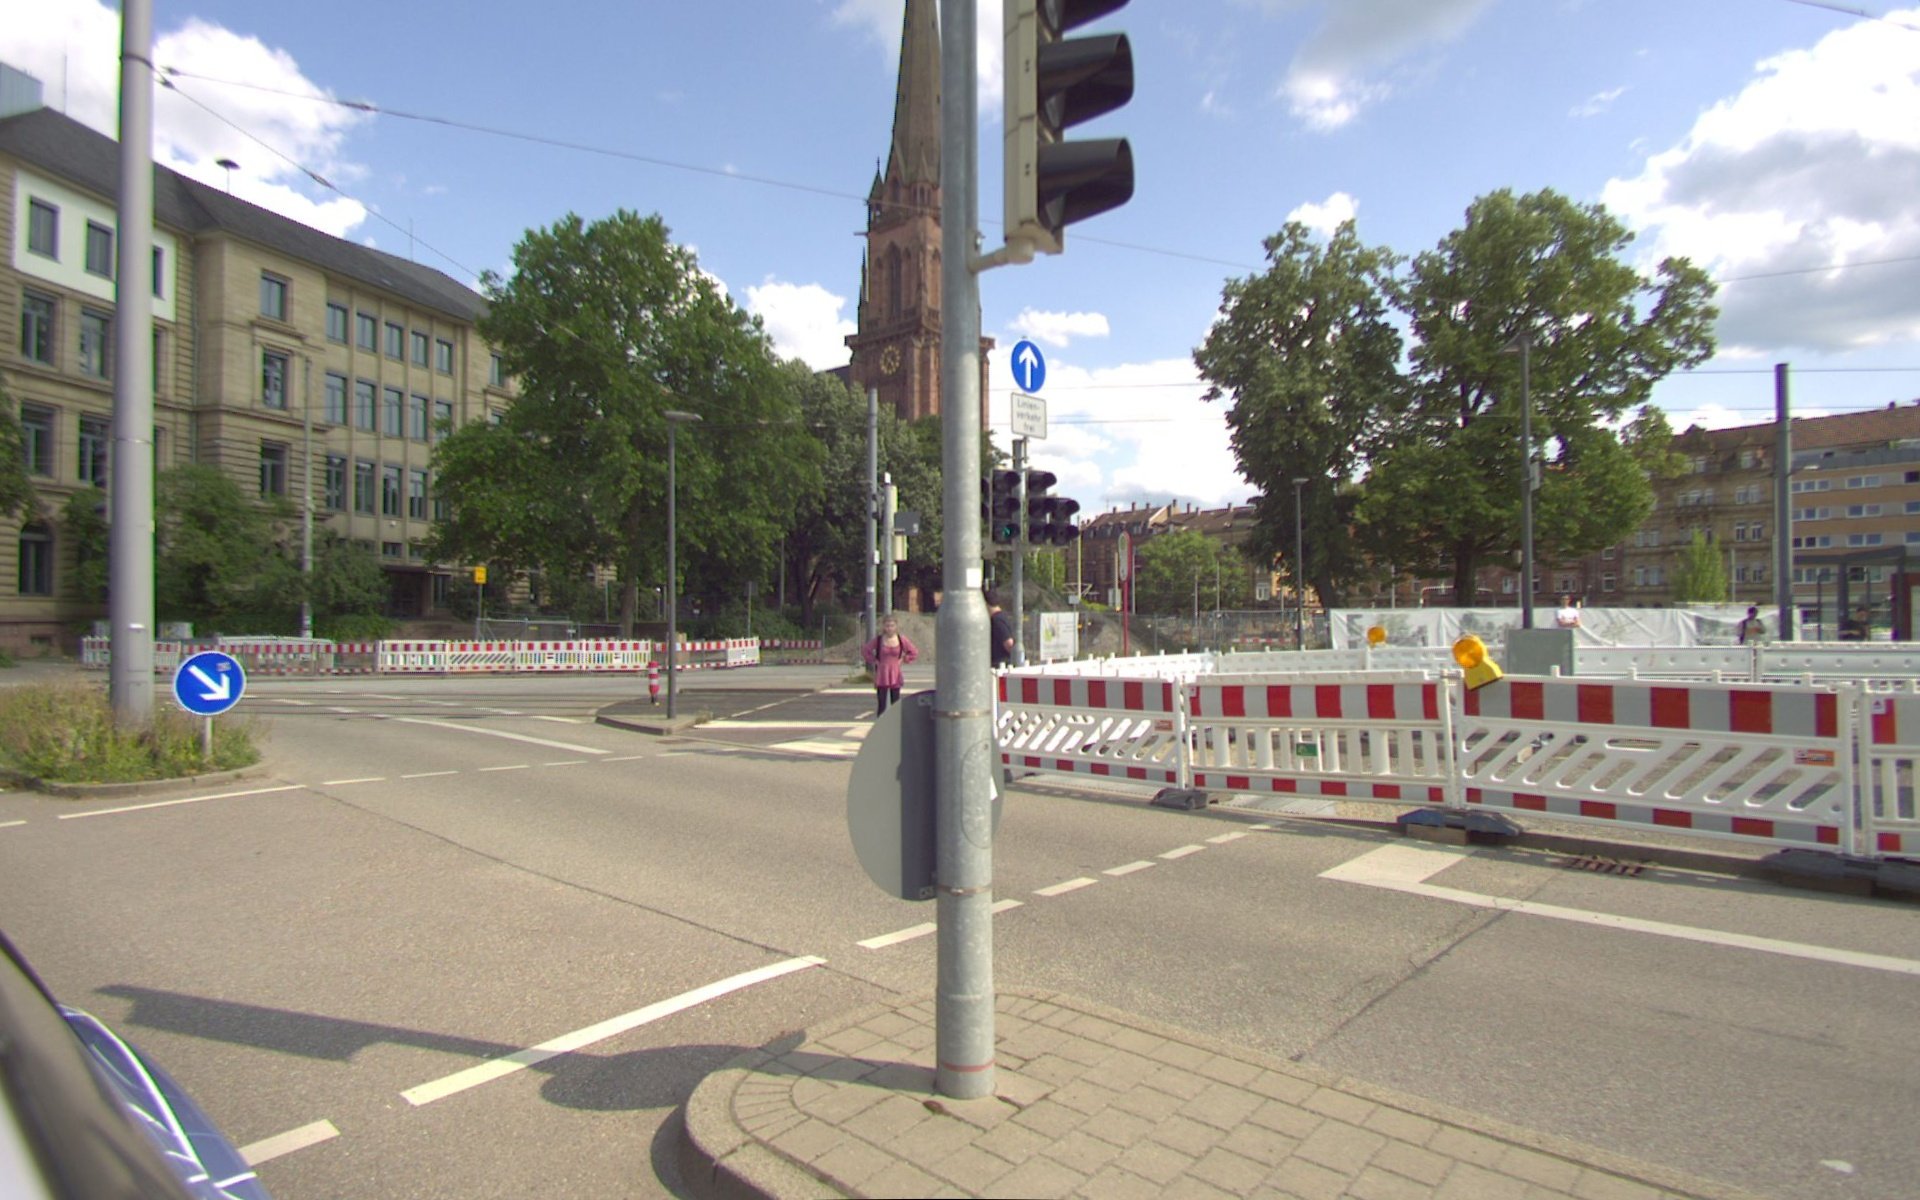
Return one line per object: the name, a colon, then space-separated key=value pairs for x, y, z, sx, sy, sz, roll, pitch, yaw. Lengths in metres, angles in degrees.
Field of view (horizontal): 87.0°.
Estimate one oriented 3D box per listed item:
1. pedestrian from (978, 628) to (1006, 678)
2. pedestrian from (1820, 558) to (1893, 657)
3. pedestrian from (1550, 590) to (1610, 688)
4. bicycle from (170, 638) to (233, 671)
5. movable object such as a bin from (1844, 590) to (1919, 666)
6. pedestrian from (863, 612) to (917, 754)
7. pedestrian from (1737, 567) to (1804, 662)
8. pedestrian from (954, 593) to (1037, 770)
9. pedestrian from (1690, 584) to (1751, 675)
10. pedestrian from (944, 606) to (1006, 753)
pedestrian: x=1.087 y=1.796 z=34.504 sx=0.784 sy=1.665 sz=0.576 roll=-1 pitch=-2 yaw=24
pedestrian: x=18.807 y=0.164 z=21.253 sx=0.723 sy=2.029 sz=0.941 roll=0 pitch=-1 yaw=8
pedestrian: x=13.131 y=0.810 z=21.461 sx=0.790 sy=2.029 sz=0.815 roll=0 pitch=-1 yaw=9
bicycle: x=-29.087 y=2.093 z=38.868 sx=0.721 sy=1.177 sz=2.118 roll=0 pitch=-1 yaw=5
movable object such as a bin: x=34.646 y=0.992 z=35.989 sx=3.954 sy=2.594 sz=2.643 roll=0 pitch=-2 yaw=9
pedestrian: x=-0.865 y=1.021 z=12.629 sx=0.614 sy=1.720 sz=0.613 roll=-1 pitch=-2 yaw=1
pedestrian: x=17.639 y=0.319 z=22.050 sx=0.723 sy=2.029 sz=0.941 roll=0 pitch=-1 yaw=8
pedestrian: x=0.390 y=0.890 z=11.381 sx=0.602 sy=1.899 sz=0.796 roll=1 pitch=-2 yaw=-26
pedestrian: x=17.362 y=0.656 z=23.126 sx=0.723 sy=2.029 sz=0.941 roll=0 pitch=-1 yaw=8
pedestrian: x=0.182 y=0.958 z=12.378 sx=0.620 sy=1.749 sz=0.404 roll=-2 pitch=-3 yaw=37
